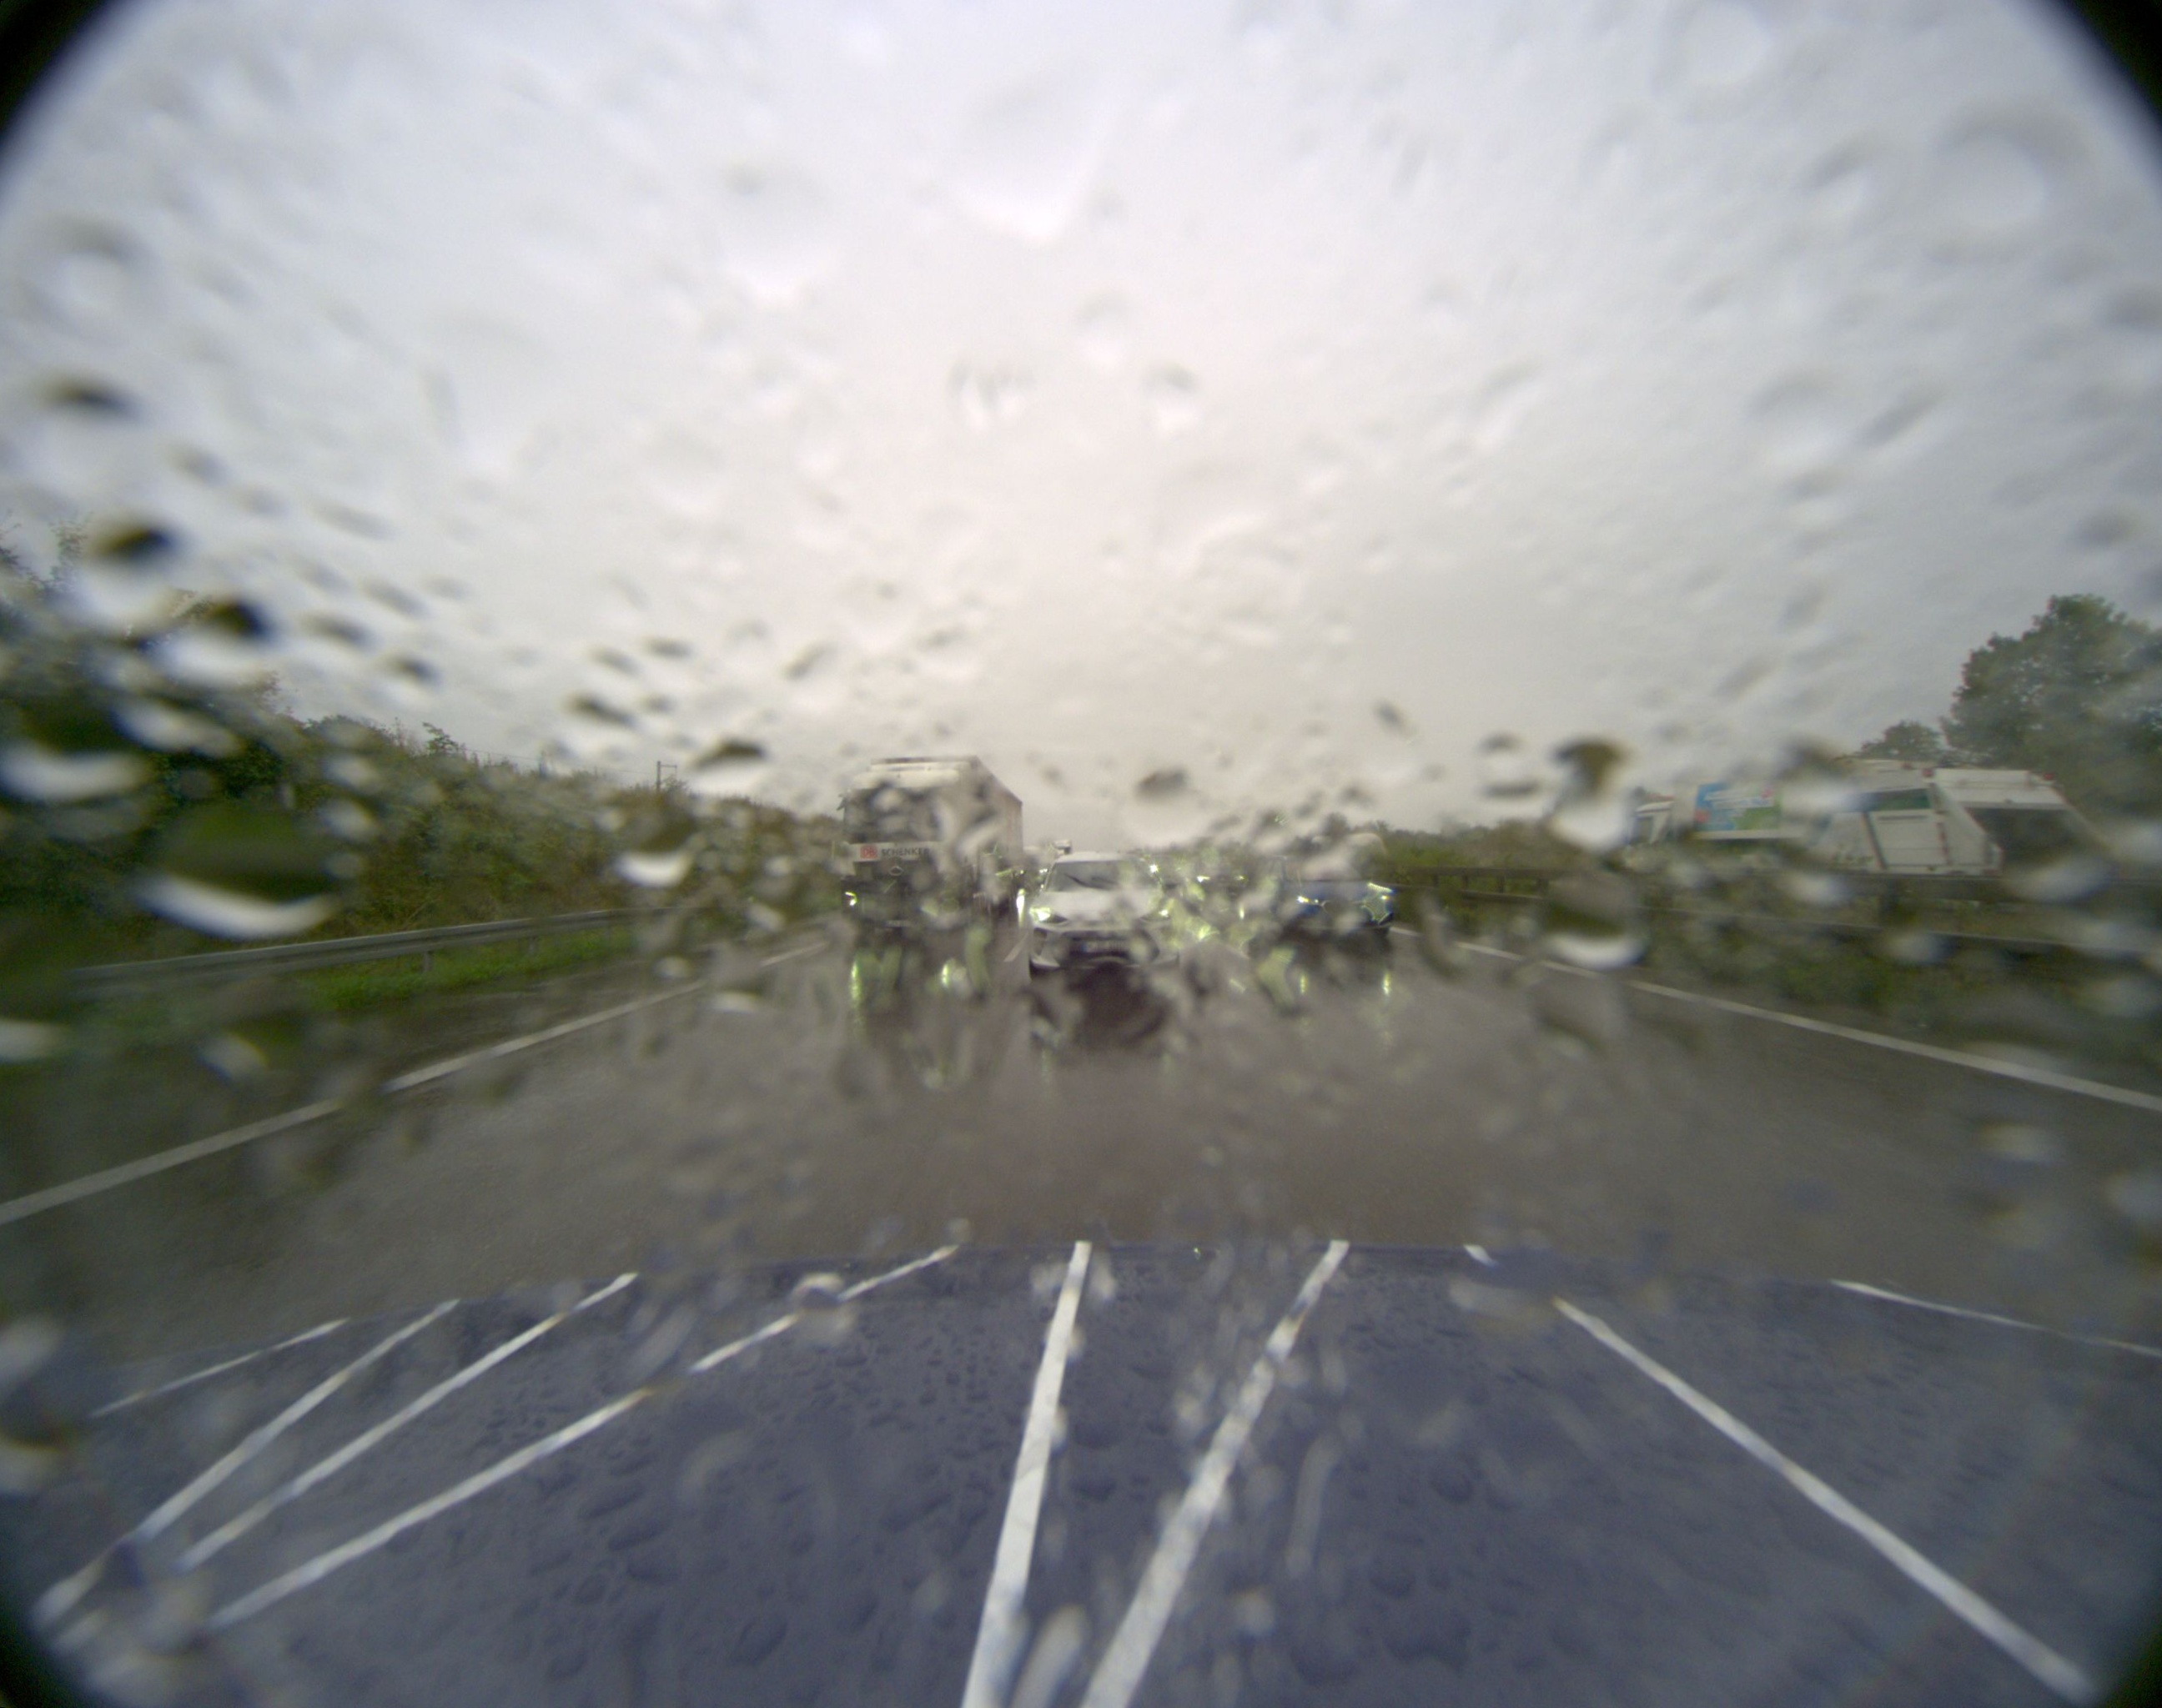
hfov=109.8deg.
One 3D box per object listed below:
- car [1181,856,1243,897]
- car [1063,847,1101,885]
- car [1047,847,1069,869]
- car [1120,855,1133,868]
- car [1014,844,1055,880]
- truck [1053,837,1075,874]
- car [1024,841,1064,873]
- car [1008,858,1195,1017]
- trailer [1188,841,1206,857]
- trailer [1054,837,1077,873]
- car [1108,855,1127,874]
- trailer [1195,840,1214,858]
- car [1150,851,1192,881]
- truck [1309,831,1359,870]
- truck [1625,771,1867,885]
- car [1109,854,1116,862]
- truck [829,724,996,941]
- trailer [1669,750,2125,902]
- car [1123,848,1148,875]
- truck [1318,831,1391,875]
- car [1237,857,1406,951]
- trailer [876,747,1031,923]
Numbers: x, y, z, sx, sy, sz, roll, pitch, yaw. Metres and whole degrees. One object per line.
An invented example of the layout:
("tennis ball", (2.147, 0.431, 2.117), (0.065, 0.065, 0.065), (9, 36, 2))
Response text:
("car", (4.932, 0.796, 29.050), (1.613, 1.428, 4.370), (-1, 0, 0))
("car", (0.115, 0.632, 42.465), (1.998, 2.002, 4.000), (-1, 0, 1))
("car", (-2.354, 0.415, 78.397), (1.998, 2.231, 4.000), (-1, 0, 0))
("car", (5.874, 0.996, 98.468), (1.458, 1.540, 2.804), (0, 2, 1))
("car", (-2.743, 0.461, 45.987), (1.946, 2.002, 4.446), (-2, 1, 2))
("truck", (-2.150, 0.156, 98.839), (2.628, 4.635, 4.290), (-1, 0, 1))
("car", (-2.520, 0.177, 52.646), (2.260, 2.002, 4.270), (-2, 1, 3))
("car", (0.229, 0.879, 9.888), (1.893, 1.578, 4.000), (-2, 0, 0))
("trailer", (22.556, -0.936, 148.192), (1.998, 3.064, 9.554), (-2, 0, 0))
("trailer", (-2.082, 0.190, 103.719), (2.628, 4.635, 9.221), (-1, 0, 1))
("car", (3.889, 1.102, 81.657), (1.737, 2.002, 4.223), (-1, 0, 0))
("trailer", (22.496, -0.927, 138.990), (1.998, 3.064, 8.871), (-2, 0, 0))
("car", (5.119, 0.655, 43.903), (1.889, 1.622, 4.269), (-1, 0, 0))
("truck", (21.966, -0.357, 66.220), (2.548, 3.261, 5.197), (1, 1, -1))
("truck", (17.430, -0.668, 20.348), (2.487, 2.704, 4.527), (0, 2, 1))
("car", (6.397, 0.835, 155.018), (1.279, 1.567, 2.848), (-1, 0, 0))
("truck", (-3.635, -0.447, 17.671), (2.633, 4.229, 5.042), (-2, 1, 0))
("trailer", (17.354, -0.585, 17.208), (2.487, 2.704, 7.322), (0, 2, 1))
("car", (4.320, 0.593, 60.373), (1.888, 2.002, 4.270), (-1, 0, 3))
("truck", (21.968, -0.217, 61.739), (2.561, 3.279, 9.346), (0, 2, 0))
("car", (4.339, 0.817, 14.501), (1.791, 1.467, 4.512), (-1, 0, 0))
("trailer", (-3.587, -0.527, 25.726), (2.633, 4.224, 14.175), (-2, 1, 0))
